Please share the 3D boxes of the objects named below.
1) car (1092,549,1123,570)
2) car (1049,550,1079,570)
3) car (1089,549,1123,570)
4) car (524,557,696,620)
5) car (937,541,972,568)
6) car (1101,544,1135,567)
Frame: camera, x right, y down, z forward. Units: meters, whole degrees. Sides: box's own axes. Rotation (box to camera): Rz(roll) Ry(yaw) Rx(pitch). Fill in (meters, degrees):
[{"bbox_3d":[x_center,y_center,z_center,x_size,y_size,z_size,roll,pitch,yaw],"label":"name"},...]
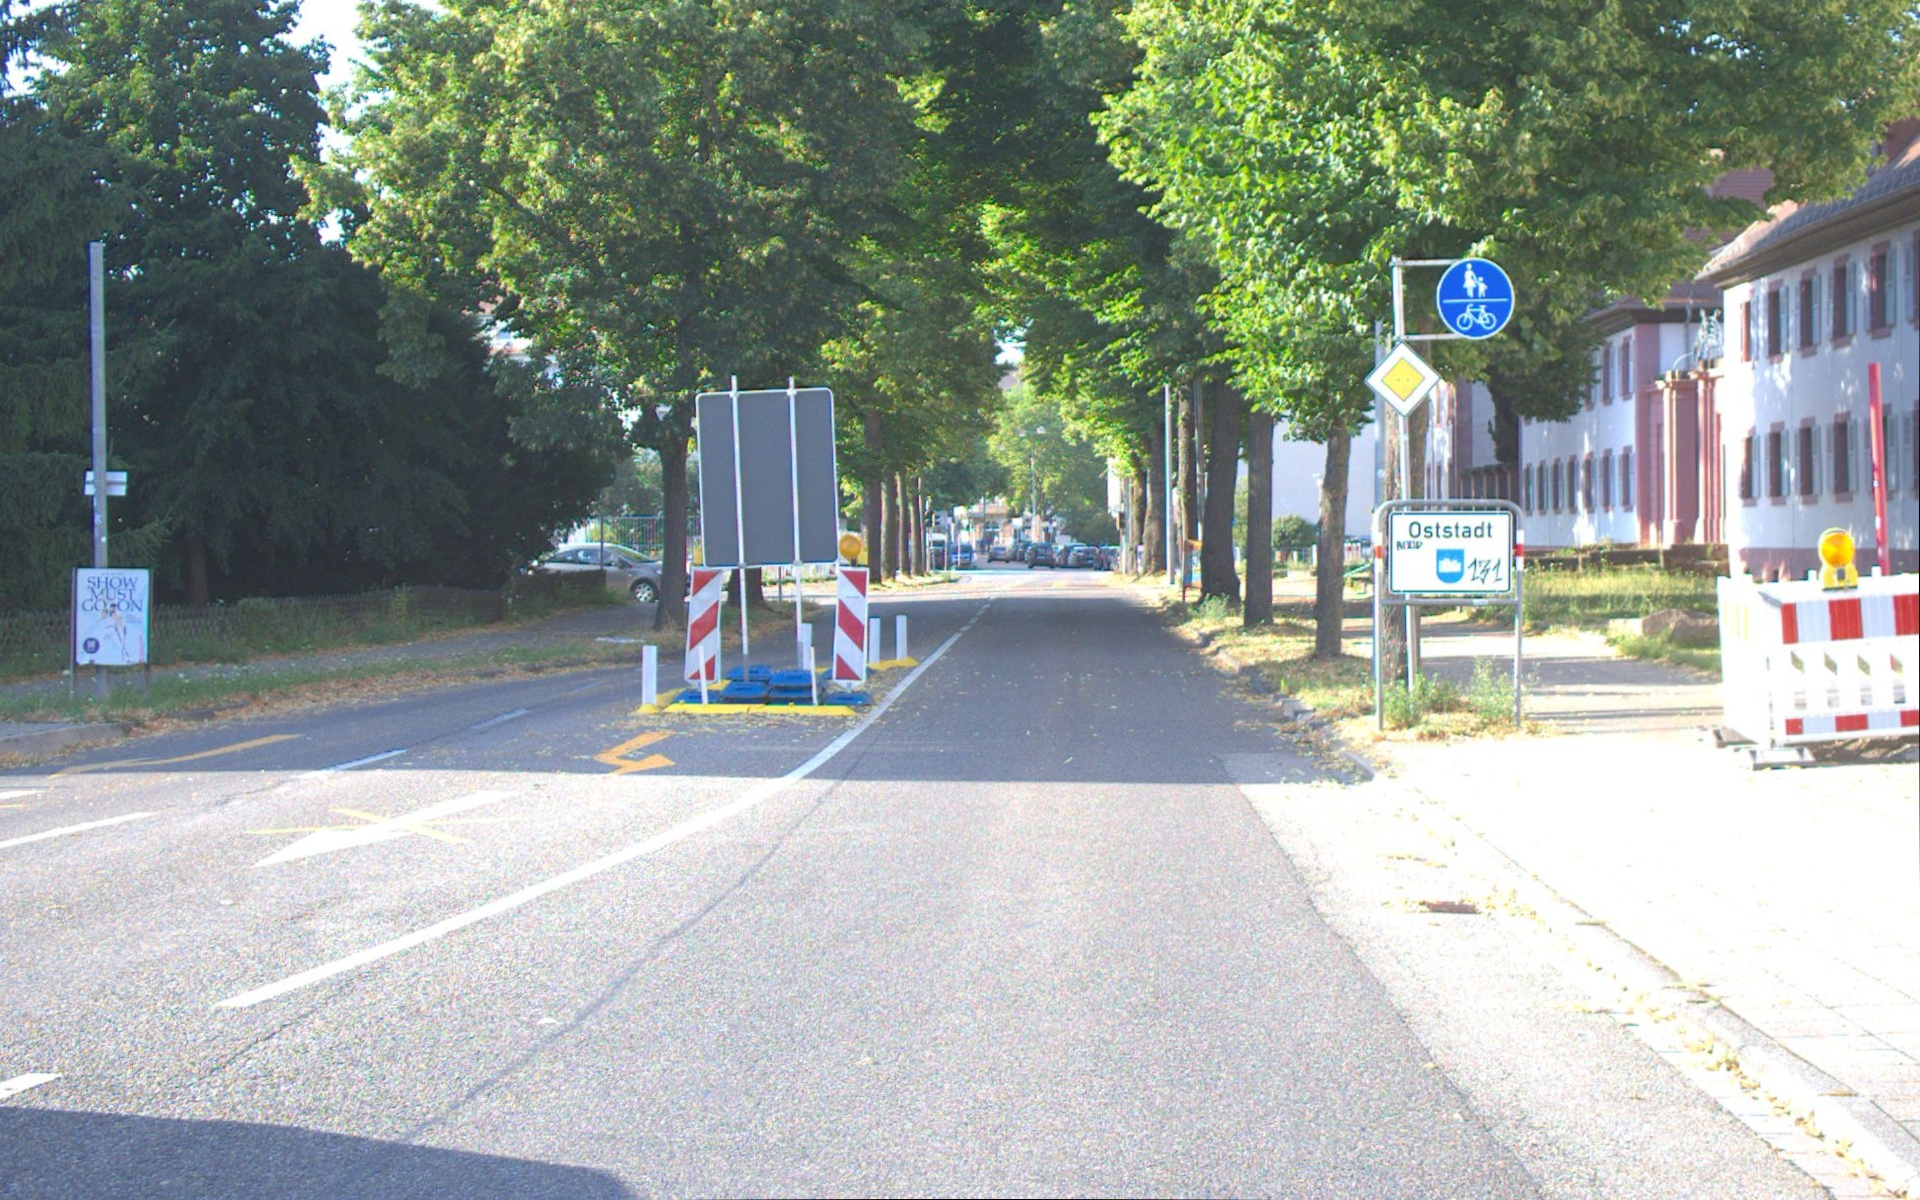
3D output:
[{"bbox_3d":[9.317,-2.547,216.740,1.841,1.256,4.000,-1,1,1],"label":"car"},{"bbox_3d":[7.424,-2.835,245.871,1.841,1.381,4.000,-1,1,-2],"label":"car"},{"bbox_3d":[8.938,-2.474,209.961,1.841,1.256,3.999,1,1,5],"label":"car"},{"bbox_3d":[-8.342,-0.274,82.136,3.844,1.468,1.651,0,1,4],"label":"car"},{"bbox_3d":[-0.365,-2.958,222.187,1.993,1.682,4.000,-1,0,-4],"label":"car"},{"bbox_3d":[9.171,-2.575,199.583,1.841,1.256,4.000,-1,1,1],"label":"car"}]
